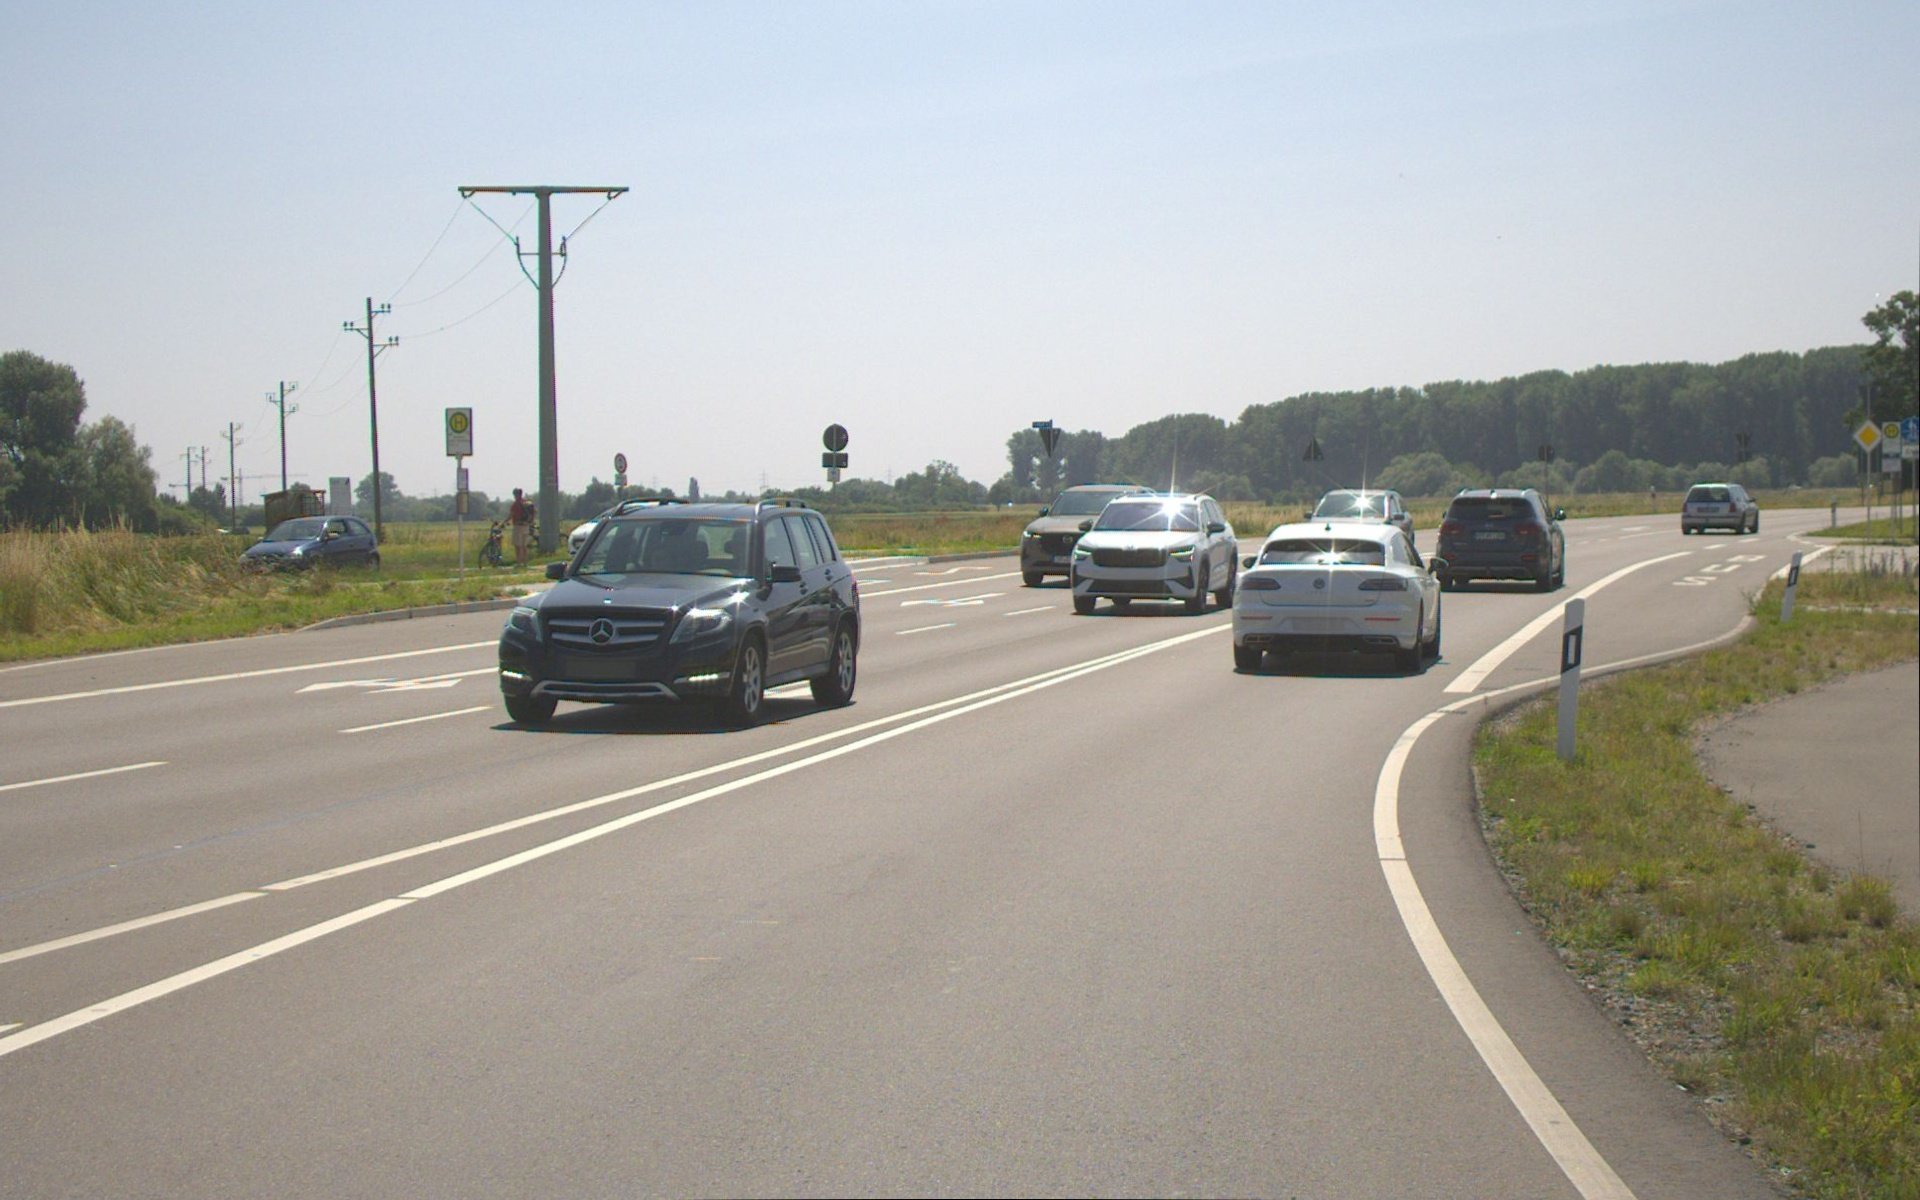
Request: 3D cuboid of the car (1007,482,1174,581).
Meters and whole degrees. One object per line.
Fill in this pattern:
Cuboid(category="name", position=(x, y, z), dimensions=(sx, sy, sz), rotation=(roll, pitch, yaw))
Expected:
Cuboid(category="car", position=(2.327, -1.231, 59.786), dimensions=(1.963, 1.644, 4.787), rotation=(0, 2, 14))

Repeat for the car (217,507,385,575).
Cuboid(category="car", position=(-13.825, -1.237, 72.349), dimensions=(1.675, 1.382, 3.834), rotation=(1, 1, 22))

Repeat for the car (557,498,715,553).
Cuboid(category="car", position=(-8.109, -1.865, 86.282), dimensions=(1.695, 1.327, 4.029), rotation=(1, 2, 36))

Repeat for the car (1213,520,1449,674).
Cuboid(category="car", position=(3.814, -0.059, 34.691), dimensions=(1.849, 1.428, 4.606), rotation=(1, 1, 13))

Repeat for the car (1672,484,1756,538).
Cuboid(category="car", position=(21.376, -2.540, 97.368), dimensions=(1.801, 1.424, 4.089), rotation=(2, 3, 19))

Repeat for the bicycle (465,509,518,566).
Cuboid(category="bicycle", position=(-10.460, -1.393, 76.783), dimensions=(0.491, 1.243, 1.509), rotation=(1, 1, 21))

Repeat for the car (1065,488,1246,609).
Cuboid(category="car", position=(2.874, -0.763, 49.578), dimensions=(1.879, 1.645, 4.841), rotation=(1, 1, 12))

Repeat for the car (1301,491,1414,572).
Cuboid(category="car", position=(7.952, -1.397, 68.525), dimensions=(1.733, 1.550, 4.377), rotation=(1, 2, 13))

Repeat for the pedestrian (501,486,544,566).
Cuboid(category="pedestrian", position=(-9.796, -1.661, 76.928), dimensions=(0.609, 1.779, 0.845), rotation=(1, 1, 22))

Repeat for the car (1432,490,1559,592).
Cuboid(category="car", position=(9.101, -0.971, 58.198), dimensions=(1.935, 1.611, 4.376), rotation=(-2, 0, 11))

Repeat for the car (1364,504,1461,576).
Cuboid(category="car", position=(10.255, -1.380, 77.740), dimensions=(1.733, 1.550, 4.377), rotation=(1, 2, 13))

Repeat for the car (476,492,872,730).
Cuboid(category="car", position=(-2.078, 0.011, 26.304), dimensions=(1.866, 1.644, 4.325), rotation=(0, 2, 12))
